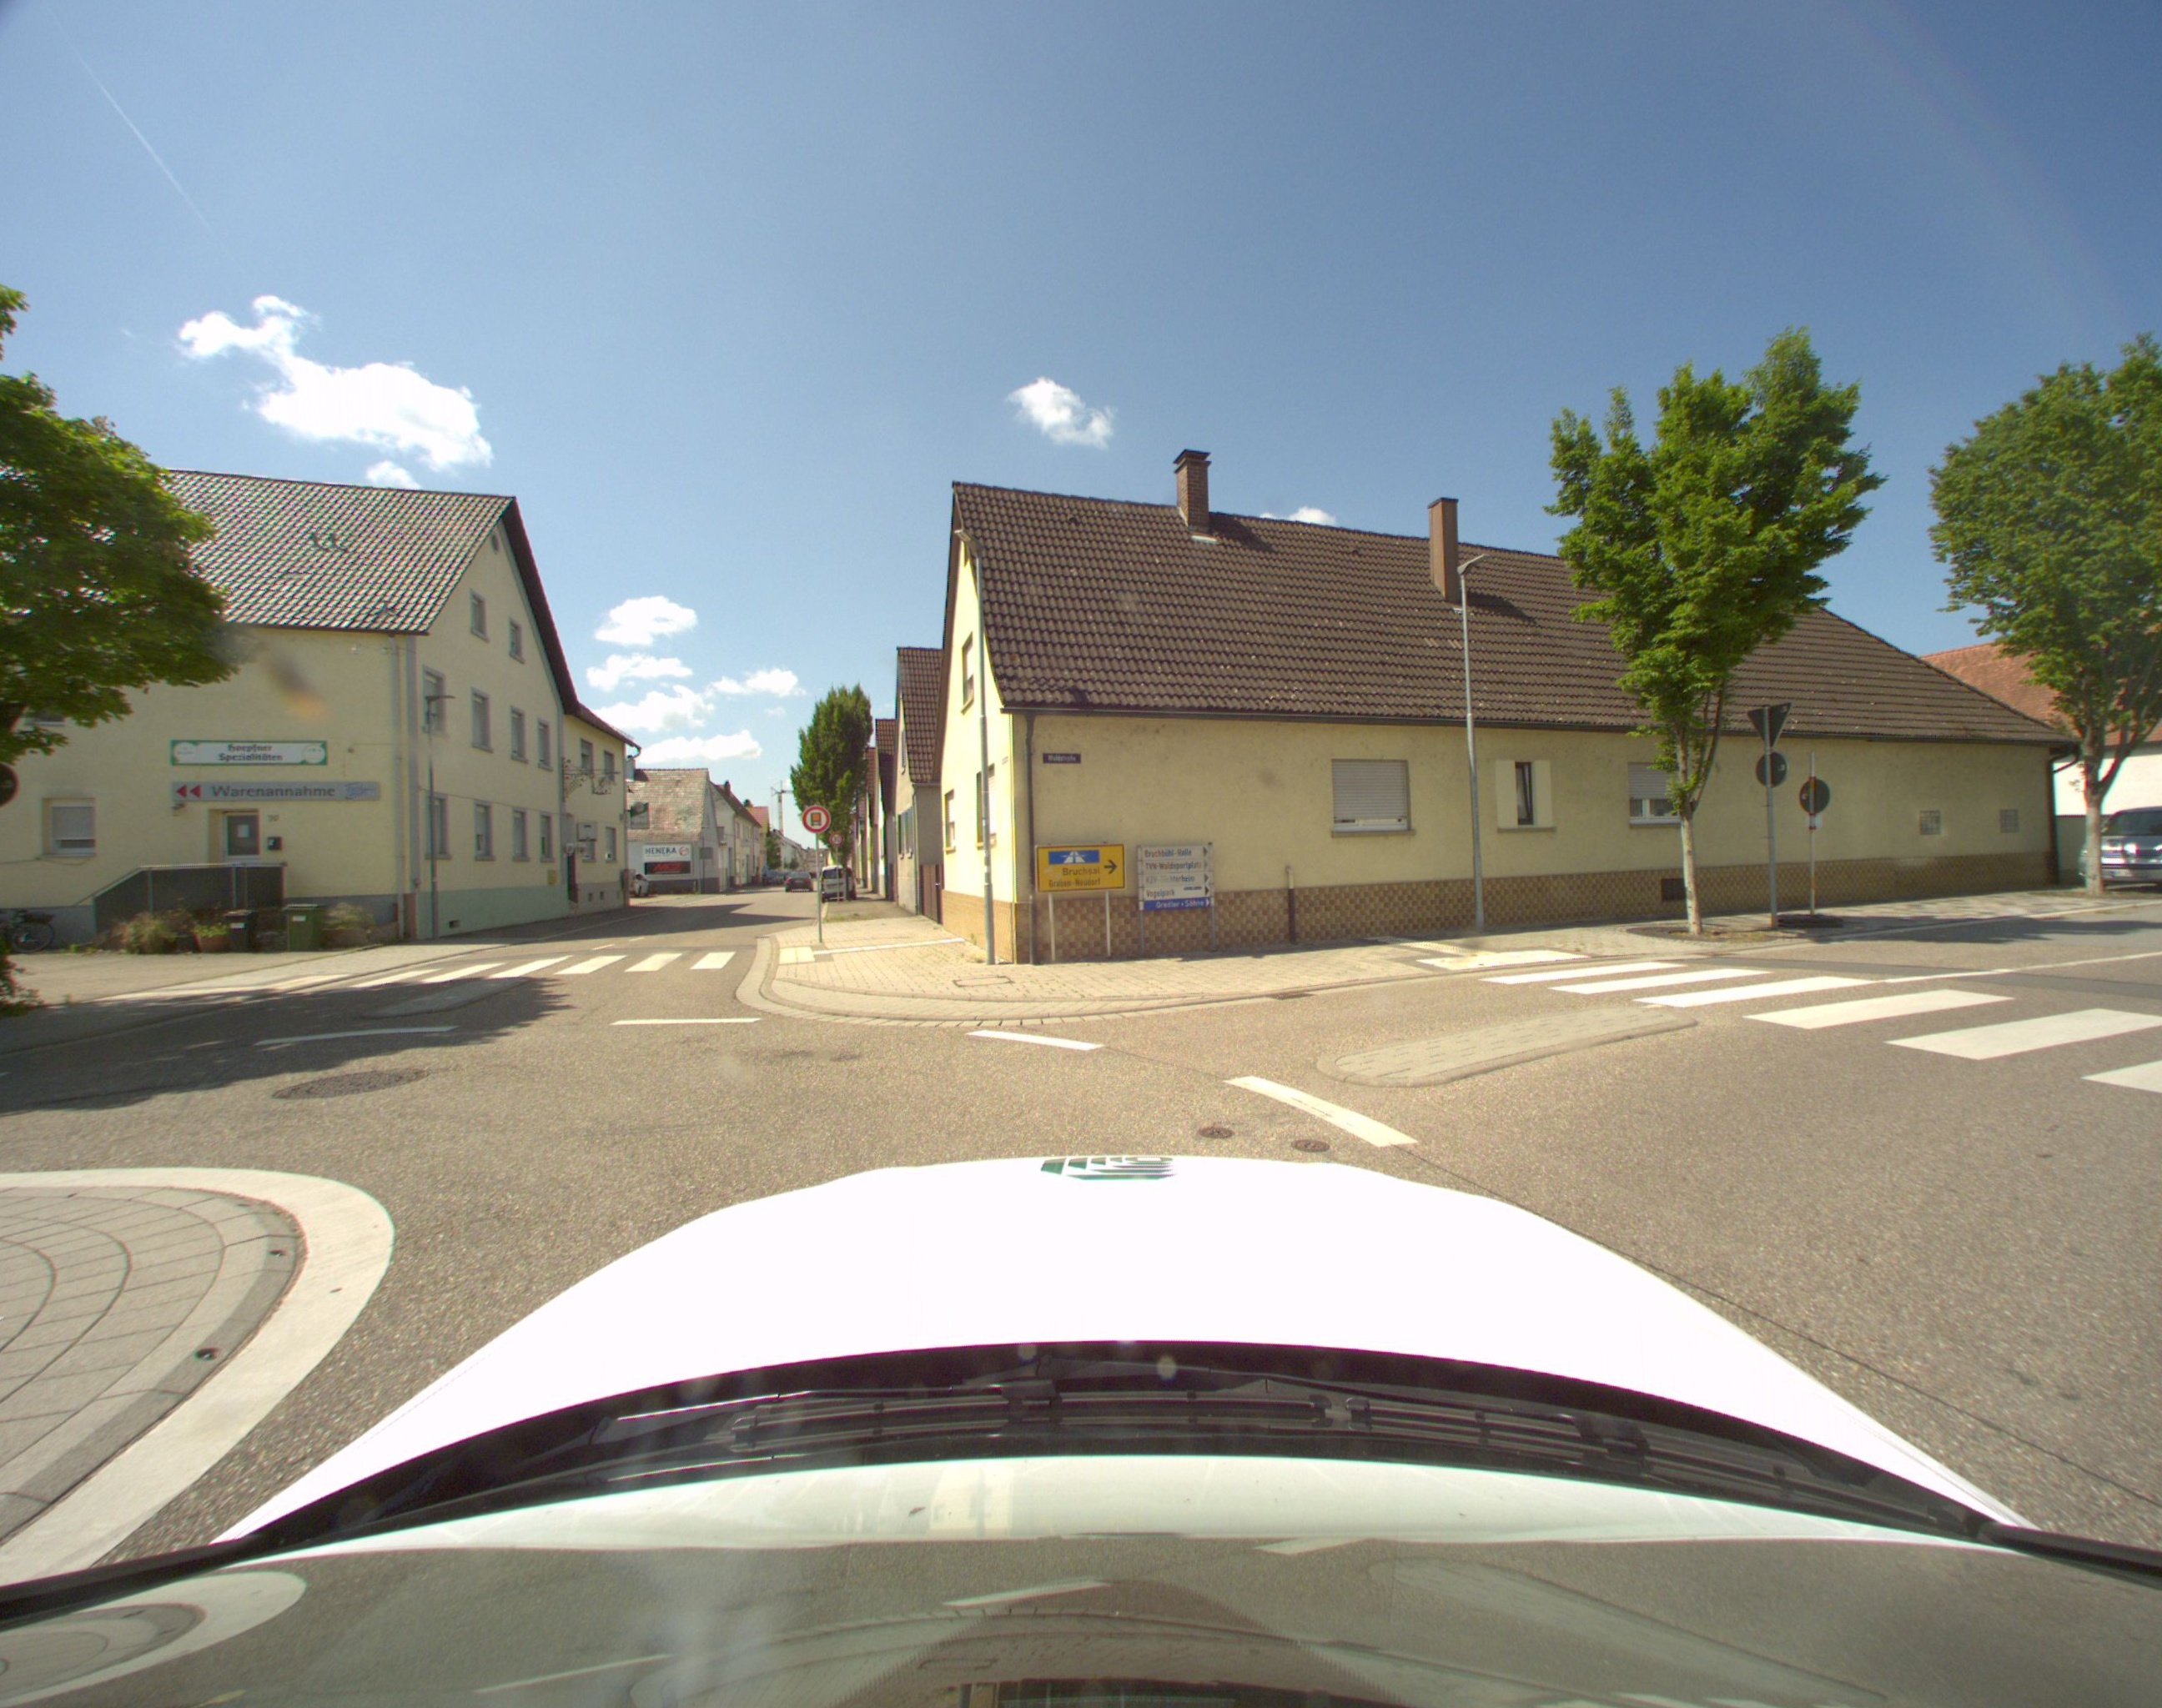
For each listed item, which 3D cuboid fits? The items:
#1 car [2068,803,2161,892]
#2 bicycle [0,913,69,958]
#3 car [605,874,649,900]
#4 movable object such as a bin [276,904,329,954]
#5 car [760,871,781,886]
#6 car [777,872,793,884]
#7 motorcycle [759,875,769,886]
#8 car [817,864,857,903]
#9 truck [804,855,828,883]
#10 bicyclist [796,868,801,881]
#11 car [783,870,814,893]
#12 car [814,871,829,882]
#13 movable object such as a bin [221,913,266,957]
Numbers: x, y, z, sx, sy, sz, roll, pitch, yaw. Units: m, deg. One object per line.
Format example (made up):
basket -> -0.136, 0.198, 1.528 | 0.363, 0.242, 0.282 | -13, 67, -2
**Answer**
car -> 25.448, -0.211, 18.817 | 4.479, 1.938, 1.987 | -2, 0, -20
bicycle -> -24.117, 1.847, 18.084 | 2.171, 0.913, 0.540 | -2, 0, -13
car -> -29.624, 2.113, 53.247 | 1.725, 1.556, 4.172 | 0, -1, -19
movable object such as a bin -> -17.891, 1.711, 18.727 | 0.601, 1.079, 0.655 | -2, -1, -15
car -> -33.581, 2.619, 88.129 | 1.814, 1.589, 3.975 | -1, -1, -18
car -> -40.637, 3.290, 111.904 | 1.814, 1.589, 3.975 | -1, -1, -18
motorcycle -> -32.782, 2.735, 84.217 | 0.848, 1.170, 2.453 | 0, -2, -18
car -> -12.465, 1.454, 41.480 | 1.725, 1.790, 4.117 | -3, 0, -19
truck -> -41.104, 2.401, 126.639 | 3.151, 4.251, 9.250 | 0, -2, -16
bicyclist -> -44.477, 3.235, 128.386 | 0.743, 2.059, 0.838 | 0, -2, -21
car -> -20.758, 1.970, 59.974 | 1.906, 1.564, 4.451 | -1, -1, -16
car -> -32.747, 2.857, 102.761 | 1.724, 1.355, 4.132 | -1, -1, -17
movable object such as a bin -> -18.853, 1.810, 18.343 | 0.480, 0.928, 0.544 | -2, -1, -15
